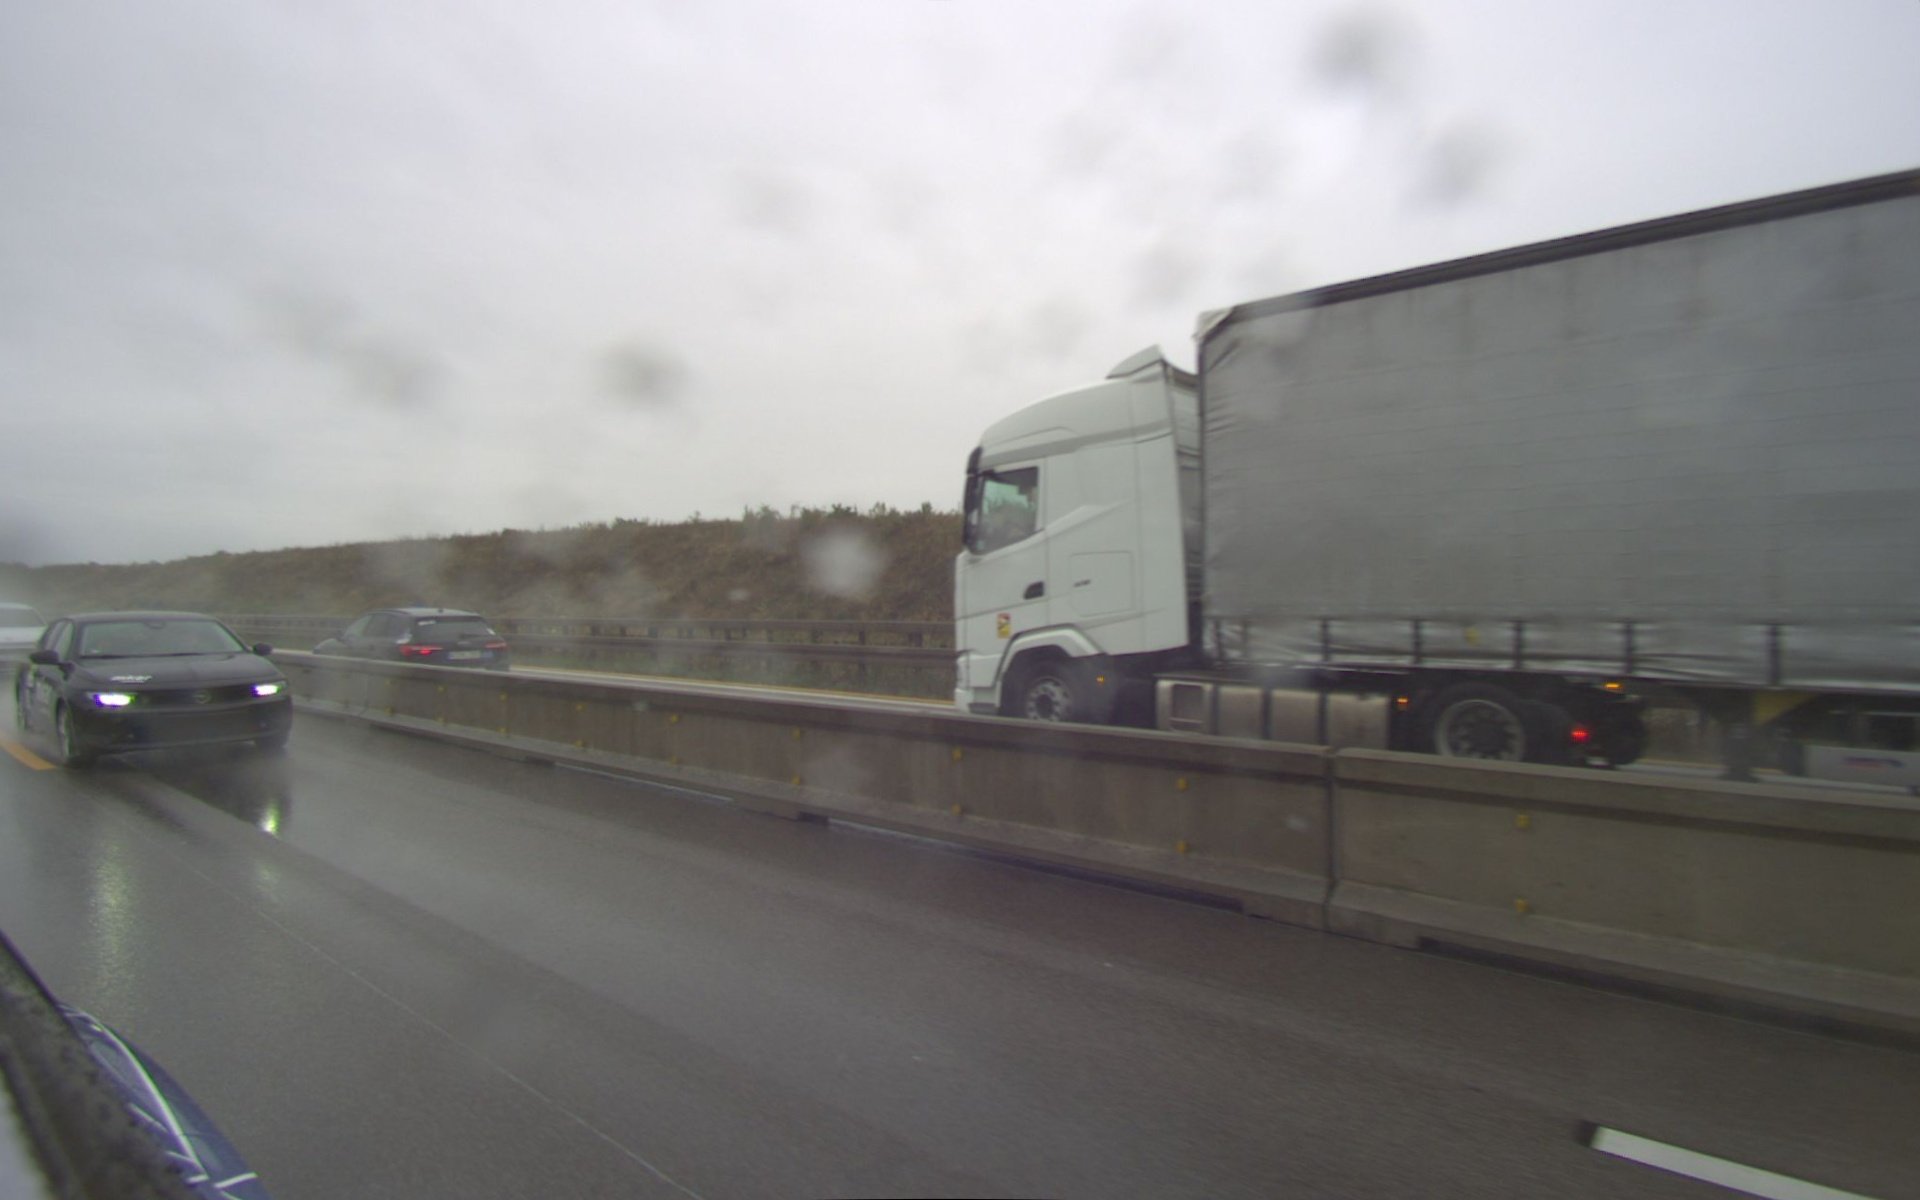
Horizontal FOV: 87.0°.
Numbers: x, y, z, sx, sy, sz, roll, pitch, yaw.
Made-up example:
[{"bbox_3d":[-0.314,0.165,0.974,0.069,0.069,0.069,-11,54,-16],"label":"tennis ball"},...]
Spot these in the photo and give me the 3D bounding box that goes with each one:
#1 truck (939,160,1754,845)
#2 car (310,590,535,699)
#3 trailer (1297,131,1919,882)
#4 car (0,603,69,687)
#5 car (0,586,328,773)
[{"bbox_3d":[3.181,-0.613,9.613,6.746,4.309,2.680,0,0,41],"label":"truck"},{"bbox_3d":[-8.691,0.621,16.233,3.998,1.495,1.873,0,1,41],"label":"car"},{"bbox_3d":[8.512,-0.542,4.930,13.065,4.309,2.658,0,0,41],"label":"trailer"},{"bbox_3d":[-20.675,0.905,21.626,3.998,1.693,1.946,0,0,41],"label":"car"},{"bbox_3d":[-8.553,0.672,10.636,4.793,1.539,1.919,0,-1,41],"label":"car"}]
